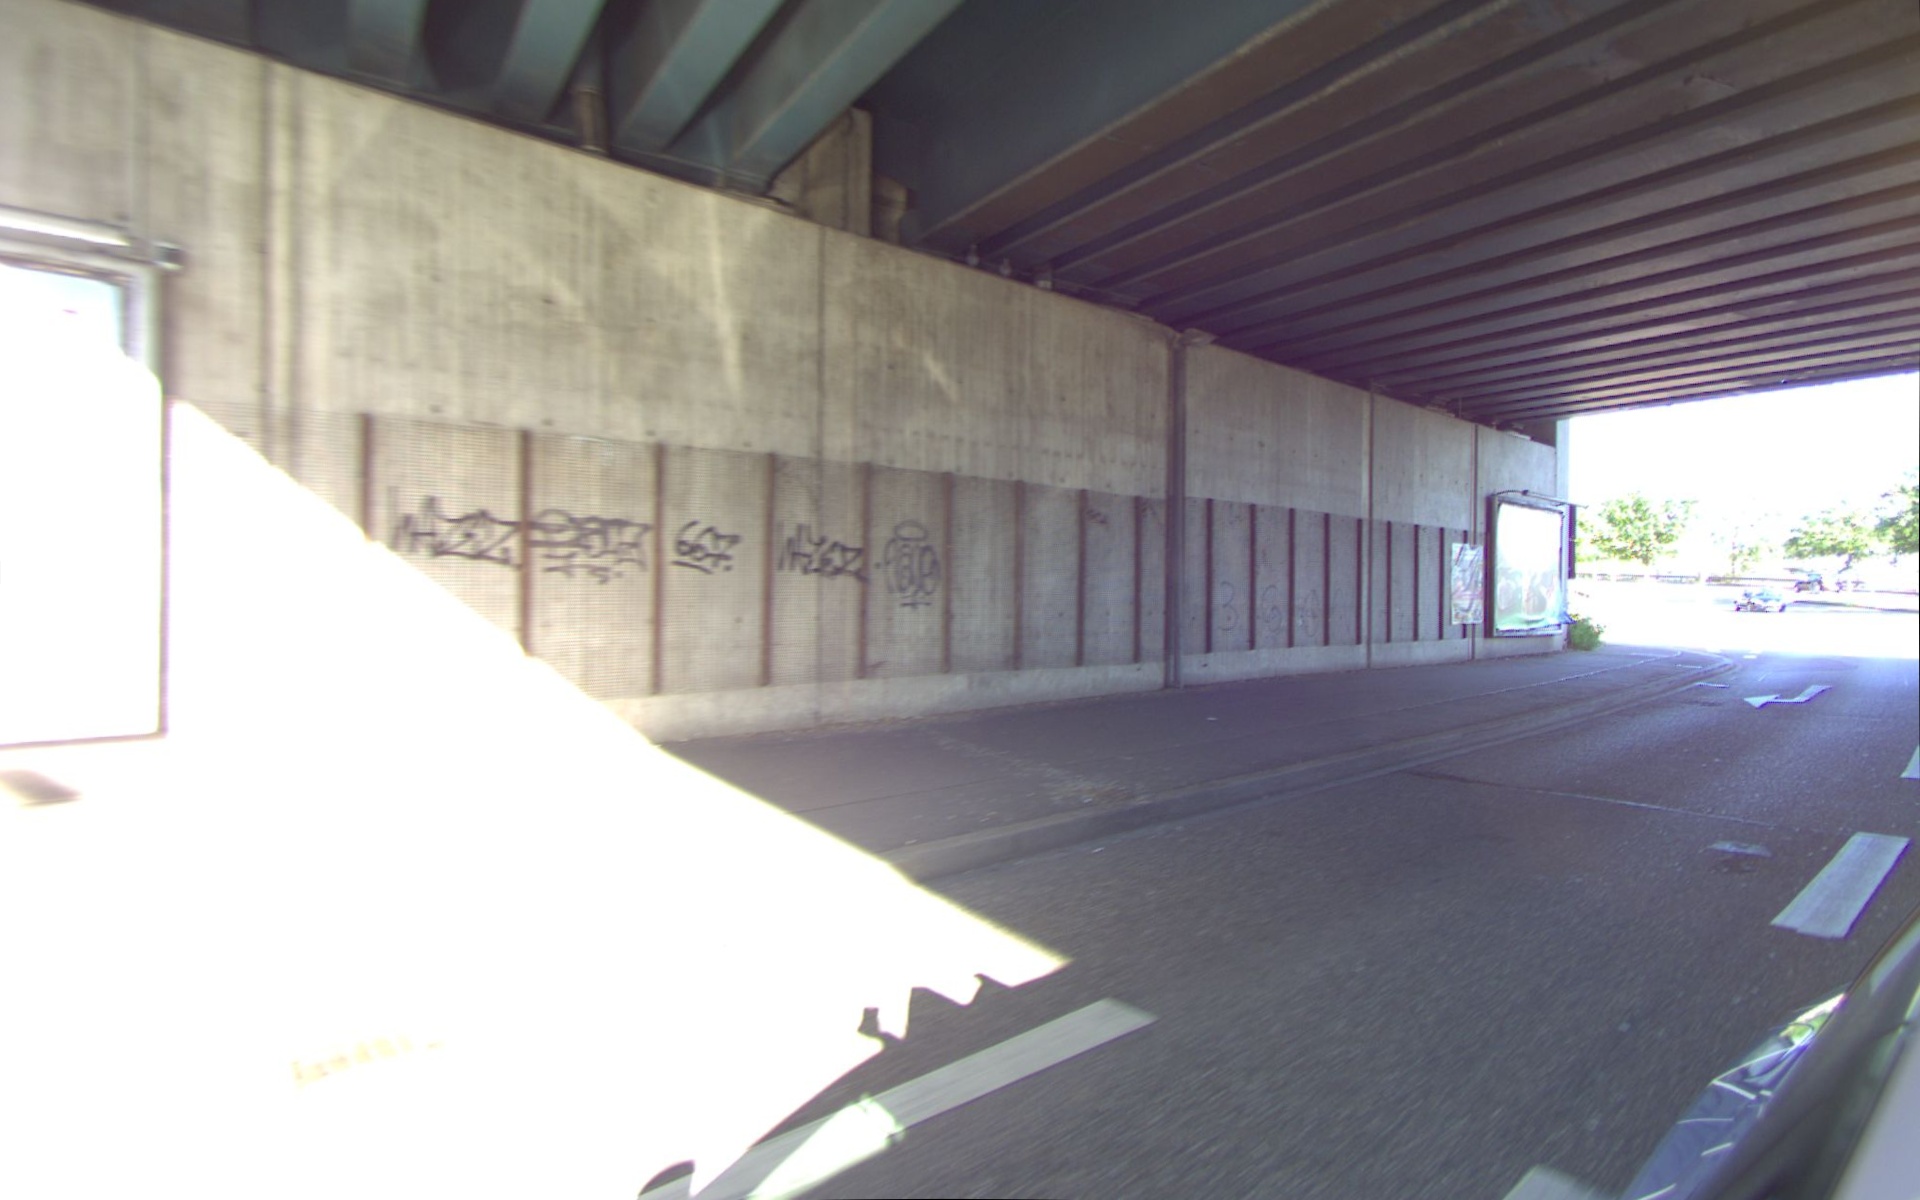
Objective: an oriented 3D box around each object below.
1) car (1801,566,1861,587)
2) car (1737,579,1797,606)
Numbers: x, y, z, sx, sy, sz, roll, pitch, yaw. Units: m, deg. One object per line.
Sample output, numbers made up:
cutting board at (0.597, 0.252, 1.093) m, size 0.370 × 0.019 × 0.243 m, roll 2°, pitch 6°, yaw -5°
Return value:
car at (69.401, -1.836, 80.715) m, size 1.802 × 1.607 × 4.169 m, roll 1°, pitch 1°, yaw 11°
car at (48.114, -0.422, 60.417) m, size 1.830 × 1.501 × 3.948 m, roll 1°, pitch 0°, yaw 24°
